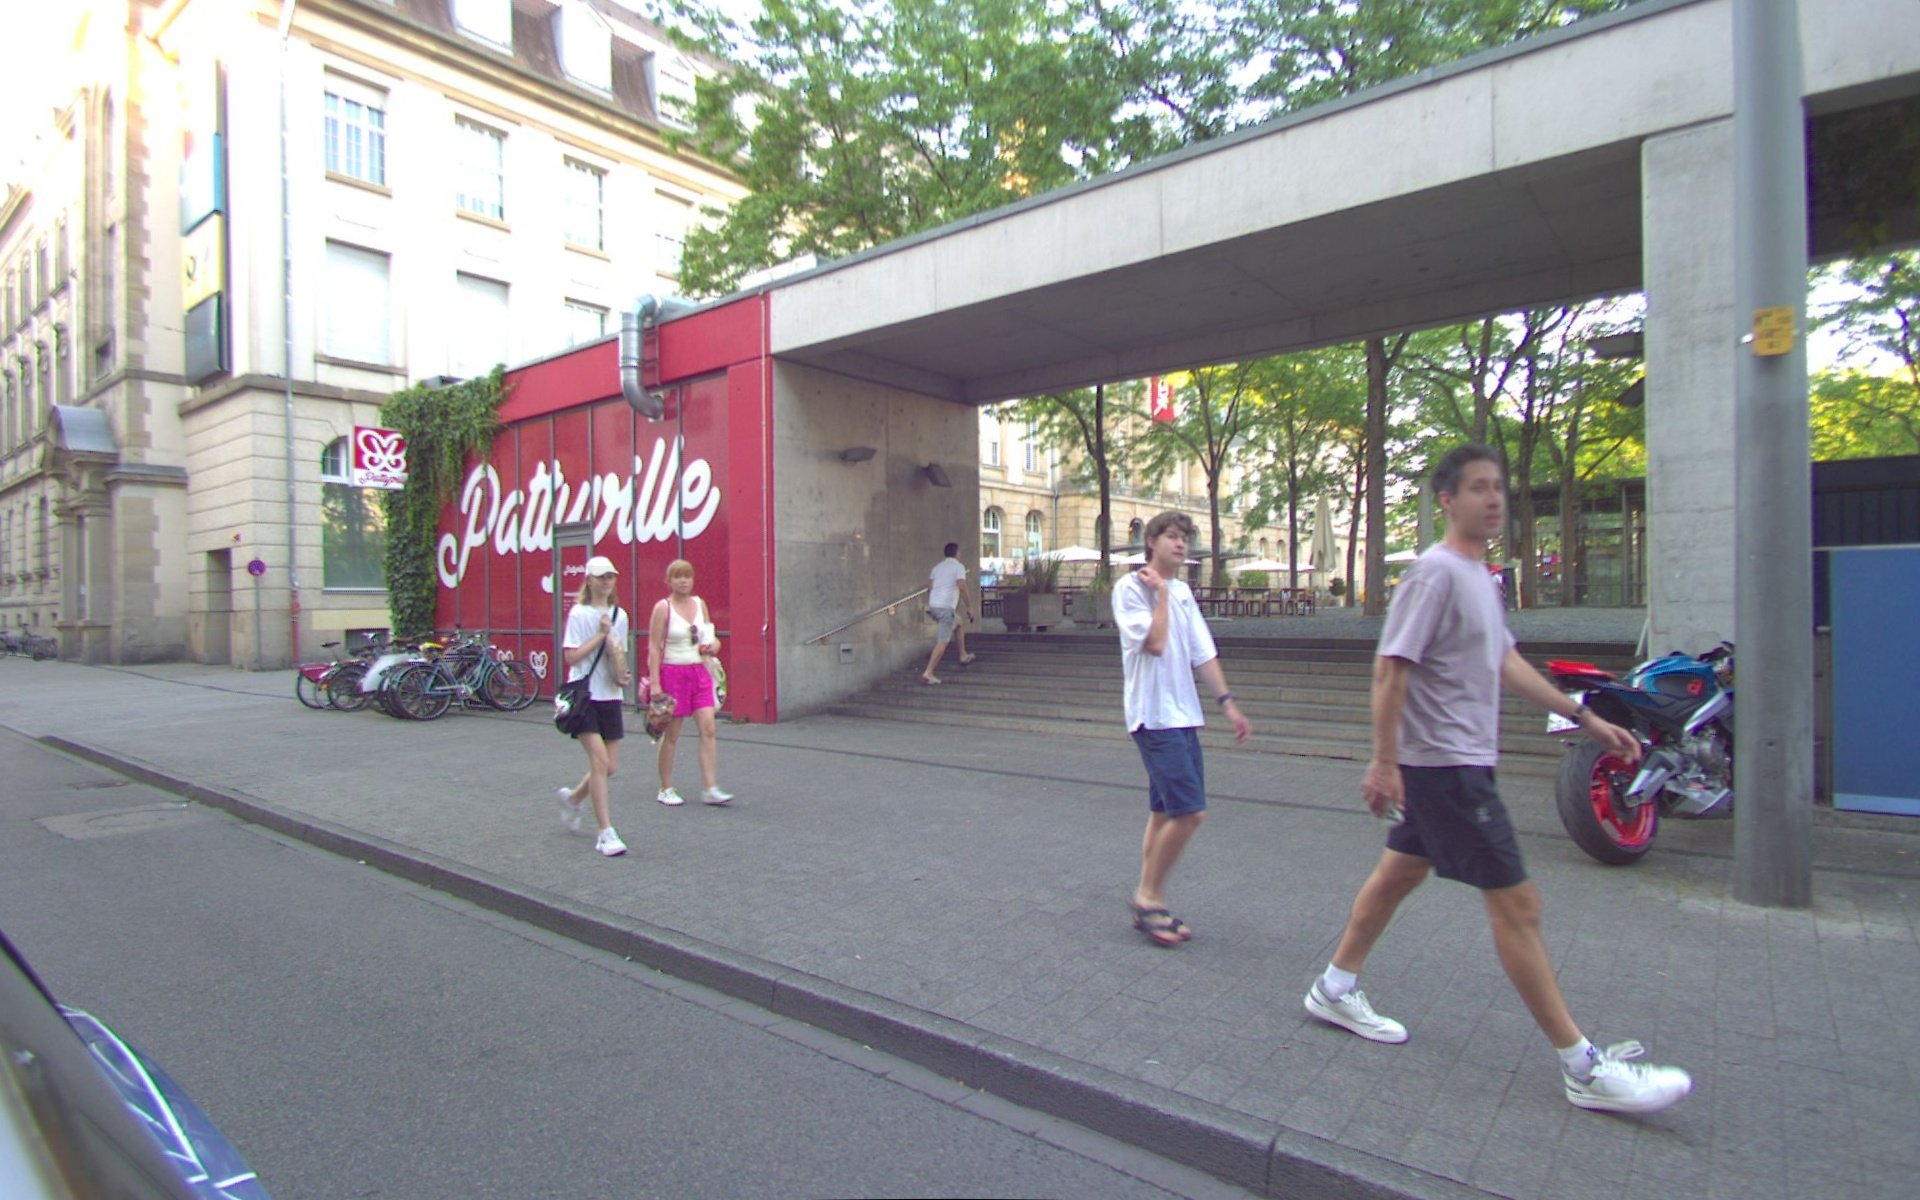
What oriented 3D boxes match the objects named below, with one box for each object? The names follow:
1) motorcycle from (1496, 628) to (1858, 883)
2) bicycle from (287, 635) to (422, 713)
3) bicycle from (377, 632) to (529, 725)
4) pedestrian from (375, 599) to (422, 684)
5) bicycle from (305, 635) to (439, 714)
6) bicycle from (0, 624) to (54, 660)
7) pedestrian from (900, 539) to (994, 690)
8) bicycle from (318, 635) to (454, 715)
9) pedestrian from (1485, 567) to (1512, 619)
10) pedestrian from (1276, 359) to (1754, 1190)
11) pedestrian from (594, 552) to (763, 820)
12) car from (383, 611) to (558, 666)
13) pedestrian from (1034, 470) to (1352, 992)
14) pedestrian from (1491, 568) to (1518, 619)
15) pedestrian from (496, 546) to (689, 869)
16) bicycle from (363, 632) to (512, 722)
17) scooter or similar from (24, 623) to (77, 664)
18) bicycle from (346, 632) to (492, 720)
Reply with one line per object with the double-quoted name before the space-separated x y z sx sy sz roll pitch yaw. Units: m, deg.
"motorcycle" 3.803 0.733 5.359 1.775 1.072 0.767 -2 0 -25
"bicycle" -9.656 1.156 16.197 0.499 1.116 1.777 -2 0 39
"bicycle" -6.900 1.031 13.850 0.500 1.116 1.775 -2 0 42
"pedestrian" -12.639 0.927 22.790 0.629 1.870 0.614 -2 0 12
"bicycle" -9.310 1.144 16.077 0.499 1.116 1.777 -2 0 38
"bicycle" -31.801 1.431 33.964 0.616 1.069 1.928 -1 3 24
"pedestrian" -0.160 0.176 12.399 0.719 1.767 0.836 -2 -1 43
"bicycle" -8.895 1.134 15.739 0.499 1.116 1.777 -2 0 38
"pedestrian" 24.780 -0.310 46.578 0.802 2.348 0.741 0 -1 -28
"pedestrian" 1.604 0.404 2.947 1.049 1.908 0.736 -2 0 40
"pedestrian" -1.996 0.563 7.189 0.845 1.763 0.745 -2 0 39
"car" -13.343 1.012 27.751 1.748 1.381 3.967 -2 -1 38
"pedestrian" 0.951 0.460 4.144 1.007 1.826 0.734 -2 0 39
"pedestrian" 25.458 -0.309 47.287 0.802 2.348 0.741 0 -1 -29
"pedestrian" -2.217 0.592 6.083 0.984 1.763 0.643 -2 -1 39
"bicycle" -7.267 1.040 14.143 0.500 1.116 1.775 -2 0 42
"scooter or similar" -28.632 1.360 31.868 0.494 1.242 1.126 -2 0 27
"bicycle" -7.745 1.051 14.557 0.500 1.116 1.775 -2 0 42
